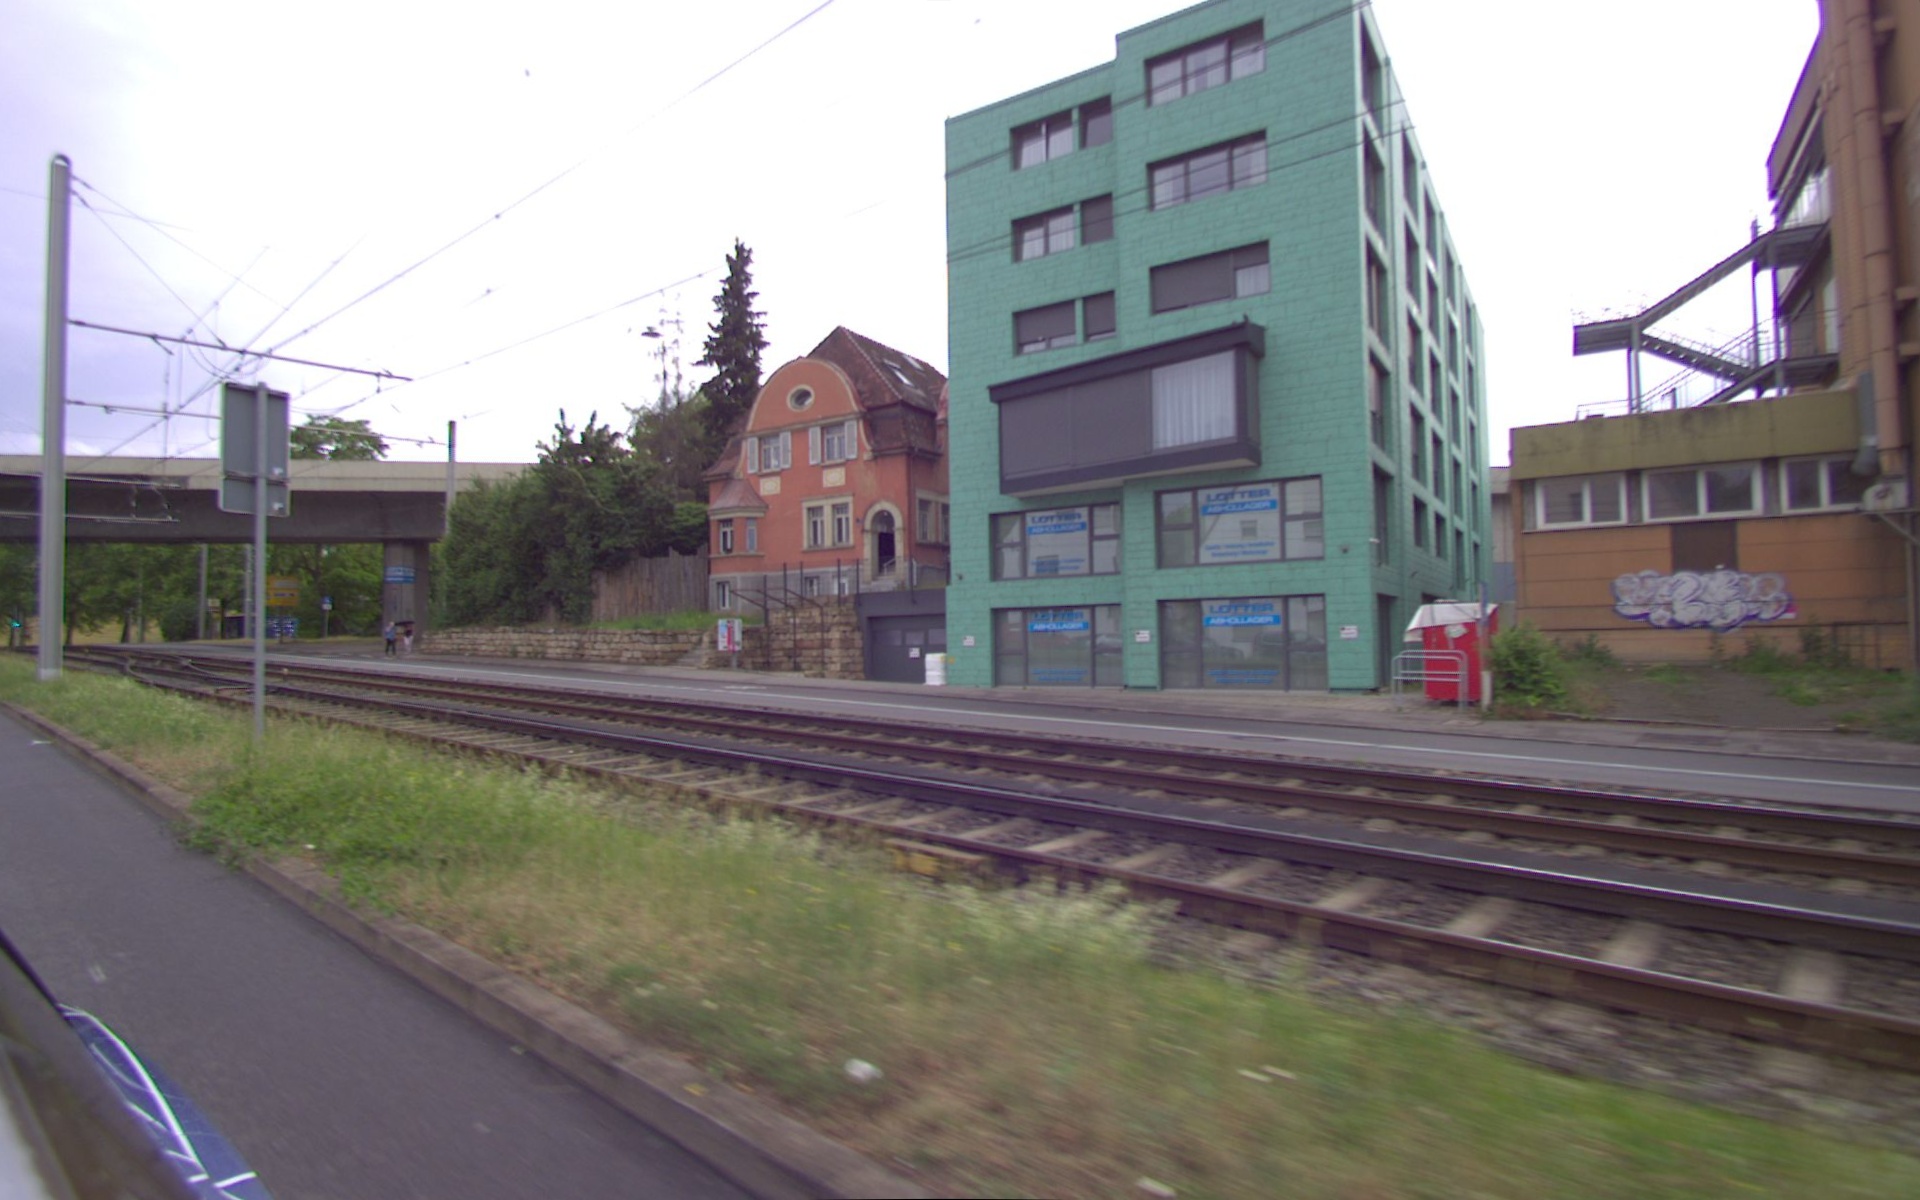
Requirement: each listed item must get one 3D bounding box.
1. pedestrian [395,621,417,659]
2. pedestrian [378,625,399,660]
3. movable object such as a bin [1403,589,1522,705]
[{"bbox_3d":[-27.620,2.004,50.430,0.866,1.845,0.686,-3,-2,42],"label":"pedestrian"},{"bbox_3d":[-27.881,2.055,49.345,0.888,1.683,0.685,-3,-2,45],"label":"pedestrian"},{"bbox_3d":[10.117,0.915,20.330,1.797,2.173,2.116,-3,-1,33],"label":"movable object such as a bin"}]
